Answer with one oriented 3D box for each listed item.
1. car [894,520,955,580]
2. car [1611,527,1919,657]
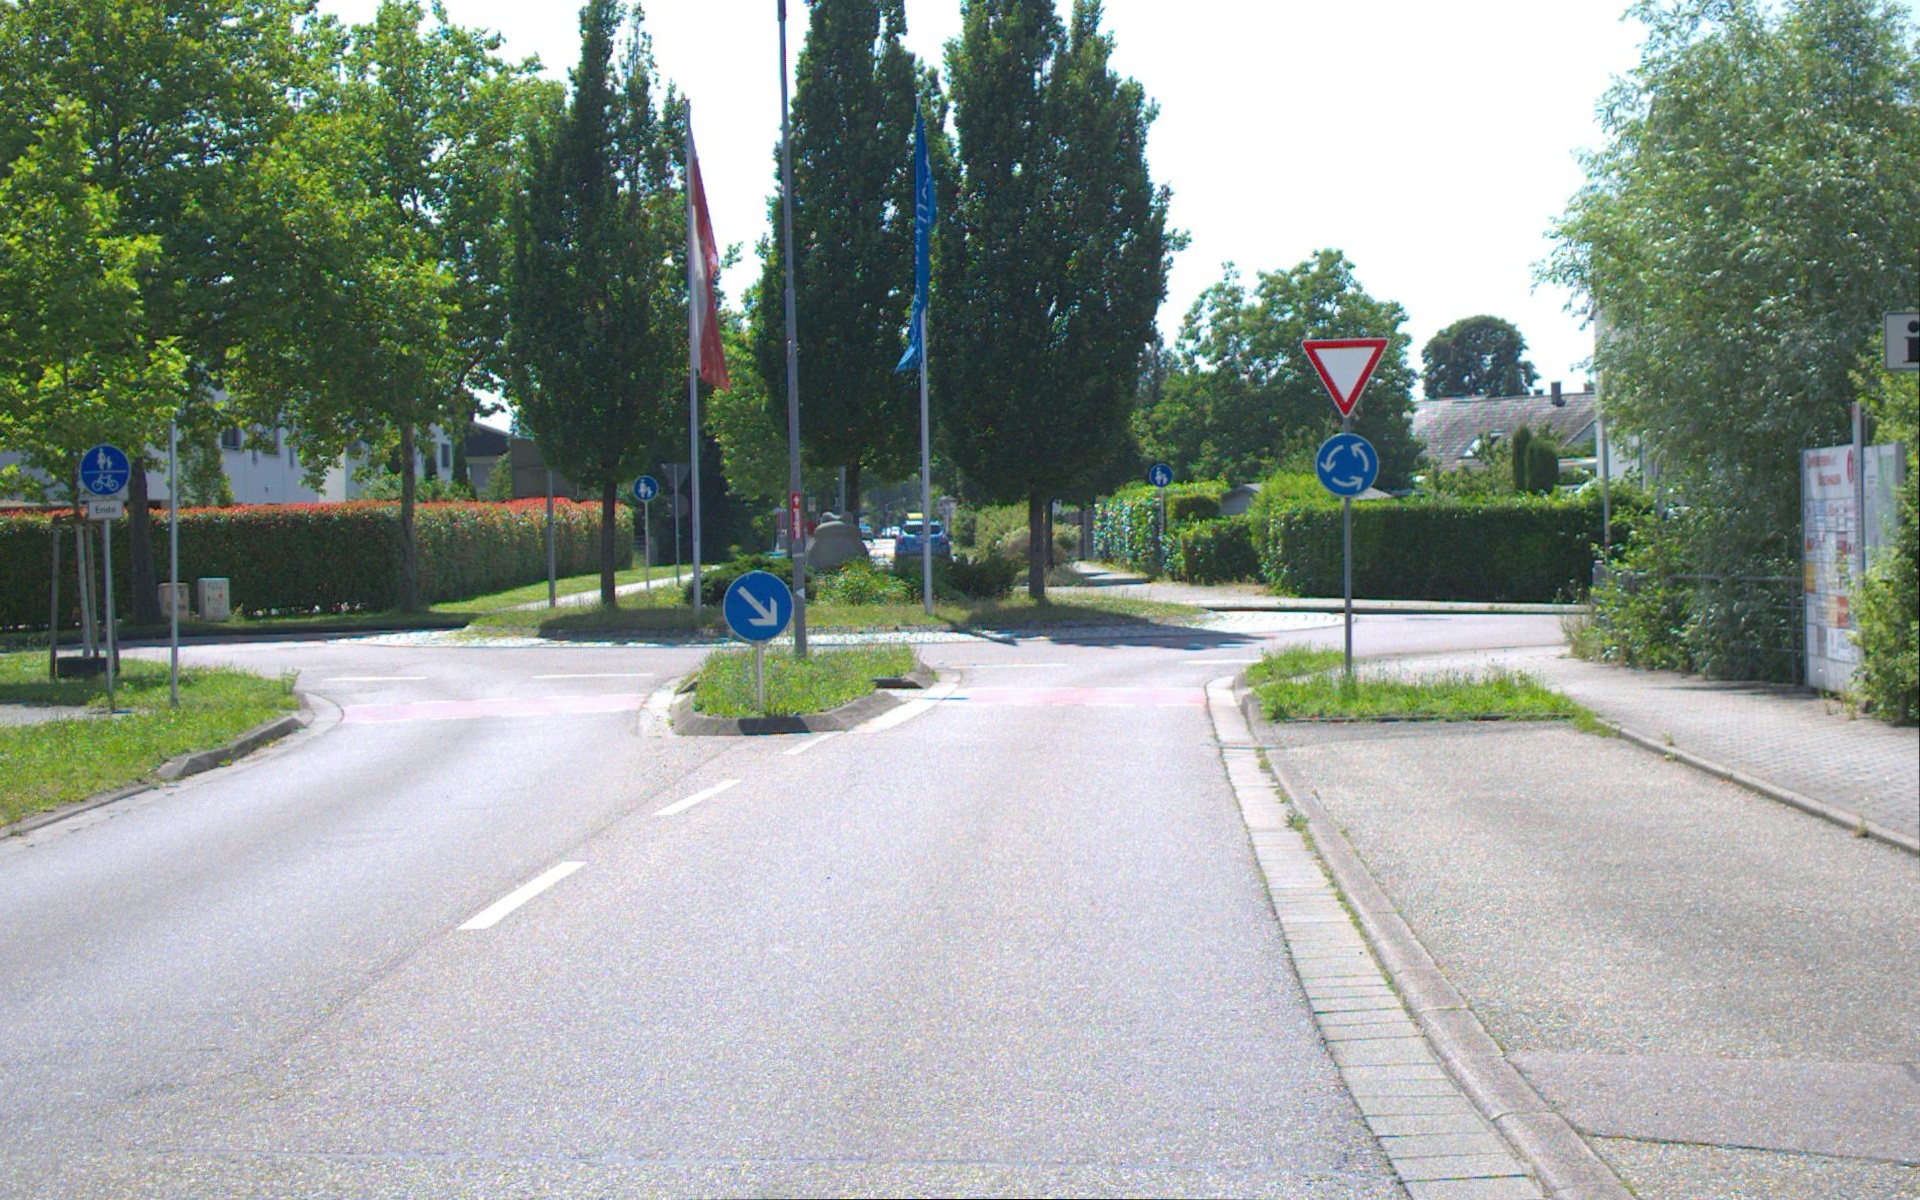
[{"bbox_3d":[-1.171,-1.607,110.950,1.923,1.879,4.000,0,1,-1],"label":"car"},{"bbox_3d":[13.031,-0.156,55.507,5.133,2.007,2.134,0,1,-39],"label":"car"}]
